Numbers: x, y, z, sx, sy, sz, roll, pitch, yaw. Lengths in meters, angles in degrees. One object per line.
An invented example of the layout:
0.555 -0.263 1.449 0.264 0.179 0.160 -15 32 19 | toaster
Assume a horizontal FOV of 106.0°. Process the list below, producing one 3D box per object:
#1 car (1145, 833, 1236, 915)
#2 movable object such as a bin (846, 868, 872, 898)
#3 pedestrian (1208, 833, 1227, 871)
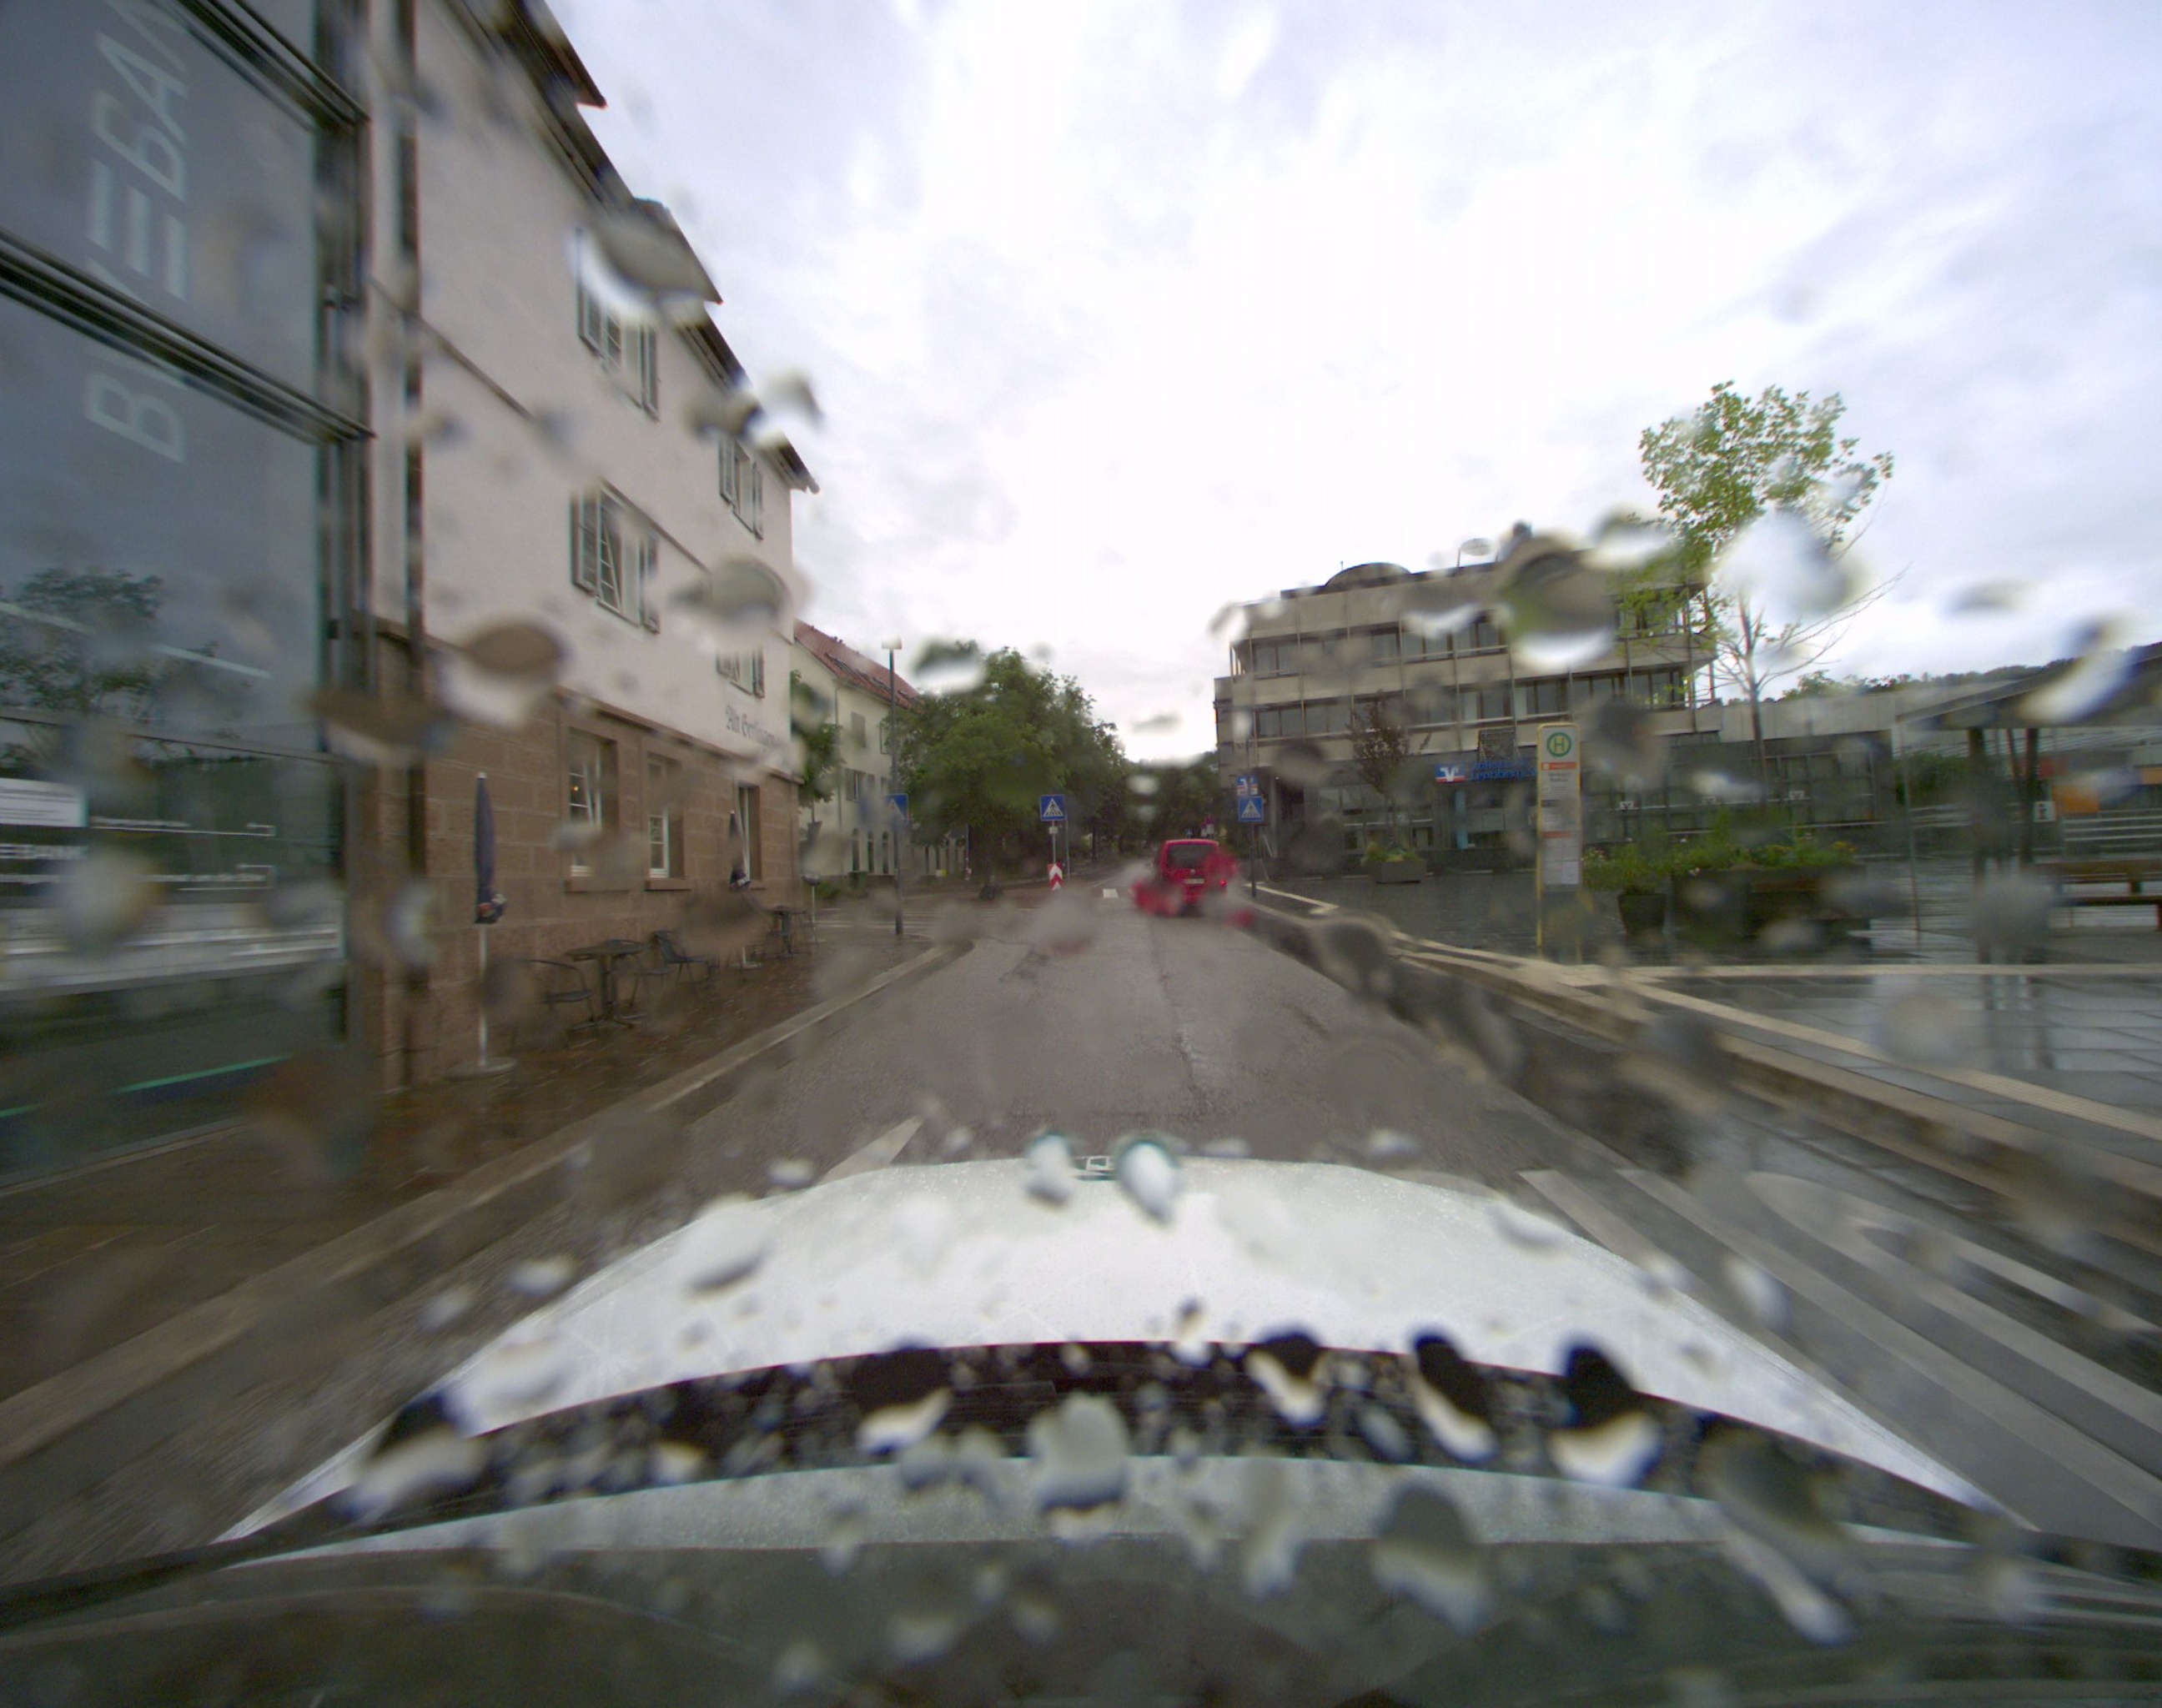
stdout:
2.715 0.491 21.130 1.855 1.830 4.187 -2 -1 2 | car
-8.892 1.165 32.626 0.731 1.124 0.653 -4 -1 17 | movable object such as a bin
6.760 -0.097 40.210 0.828 1.830 0.819 -1 0 15 | pedestrian
